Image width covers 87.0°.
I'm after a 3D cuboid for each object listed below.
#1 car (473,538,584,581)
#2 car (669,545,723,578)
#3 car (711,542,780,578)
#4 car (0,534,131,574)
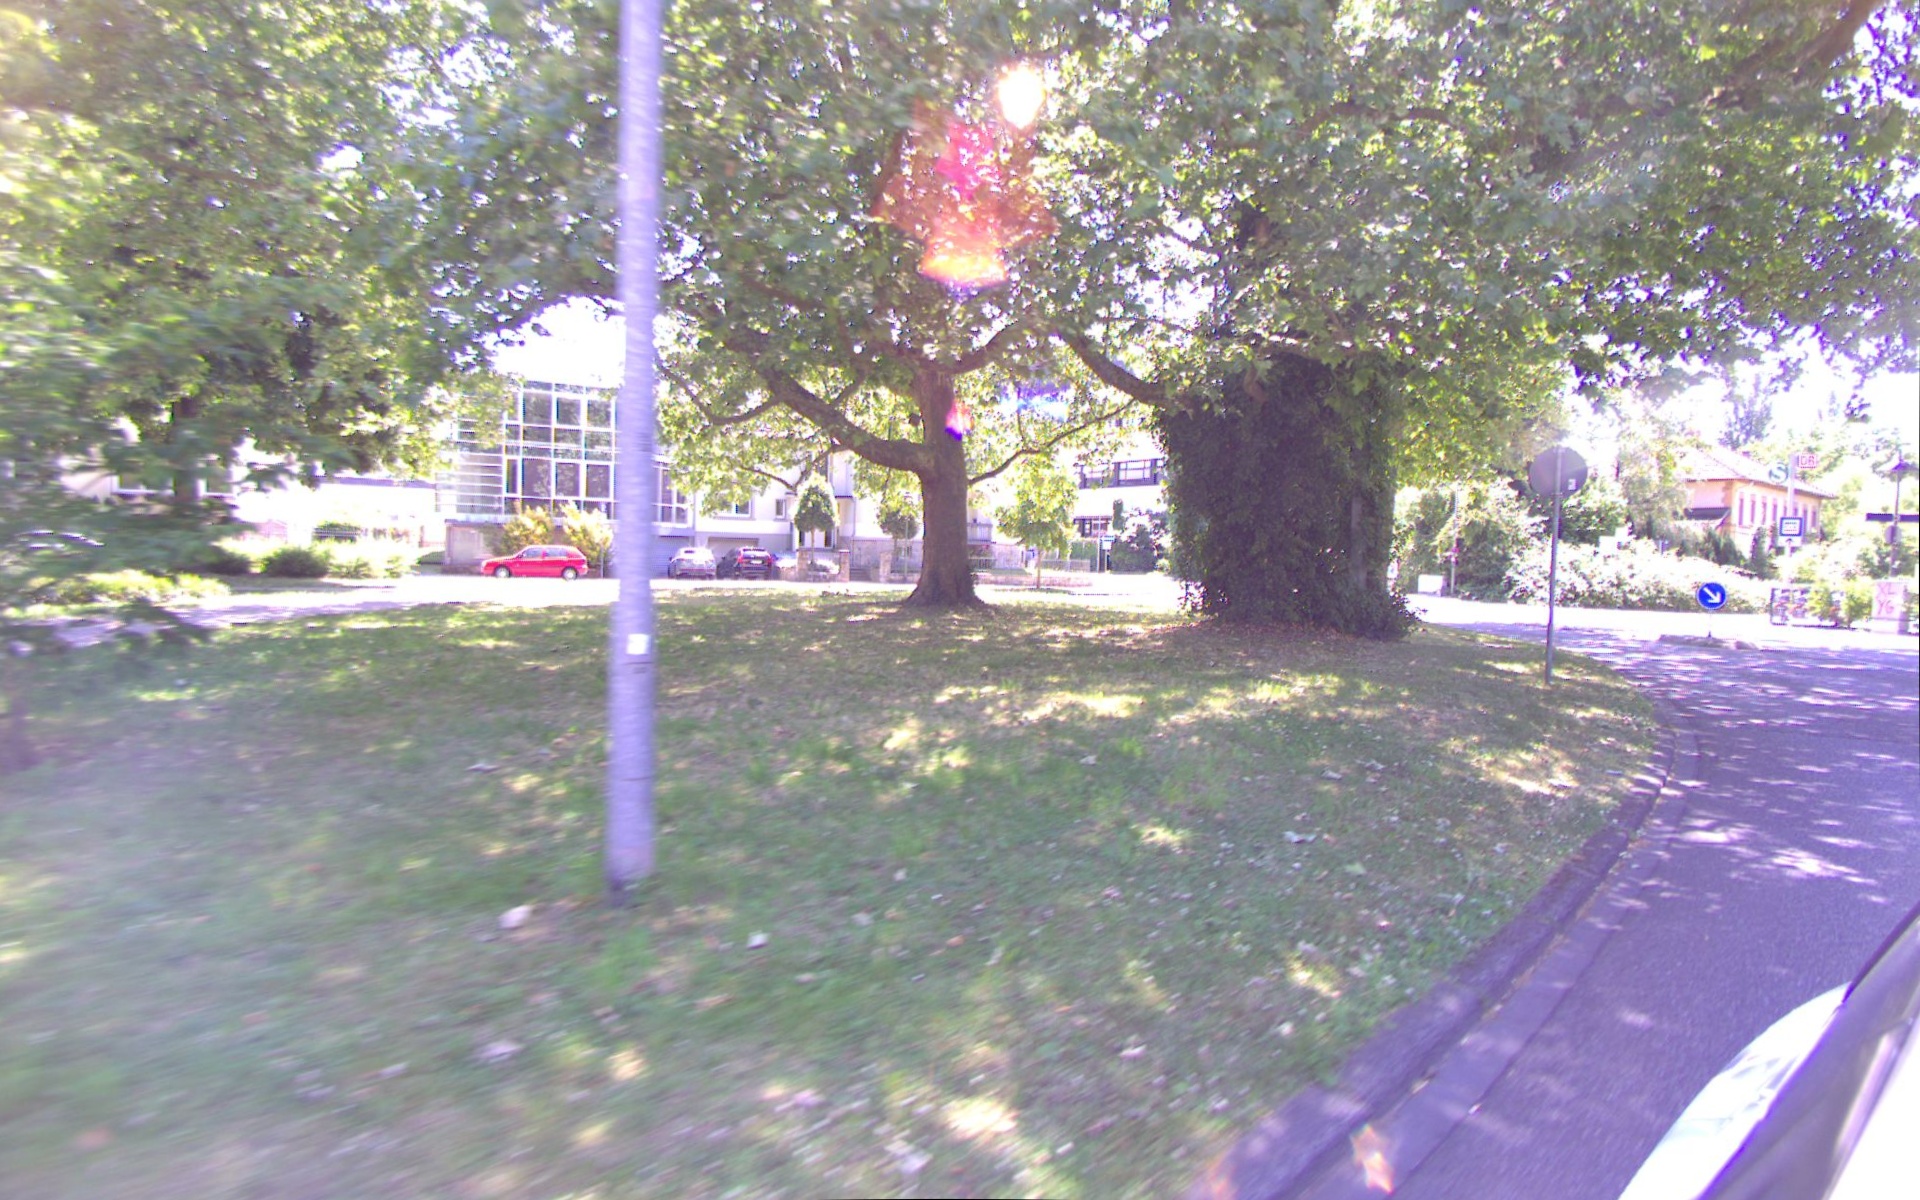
[{"bbox_3d":[-16.945,-1.589,39.734,3.918,1.543,1.757,0,3,-26],"label":"car"},{"bbox_3d":[-12.213,-1.811,46.699,1.958,1.408,4.010,0,3,-21],"label":"car"},{"bbox_3d":[-10.296,-1.928,48.391,1.961,1.587,4.005,0,4,-32],"label":"car"},{"bbox_3d":[-31.016,-1.551,33.959,4.617,1.303,1.675,-1,4,-24],"label":"car"}]
